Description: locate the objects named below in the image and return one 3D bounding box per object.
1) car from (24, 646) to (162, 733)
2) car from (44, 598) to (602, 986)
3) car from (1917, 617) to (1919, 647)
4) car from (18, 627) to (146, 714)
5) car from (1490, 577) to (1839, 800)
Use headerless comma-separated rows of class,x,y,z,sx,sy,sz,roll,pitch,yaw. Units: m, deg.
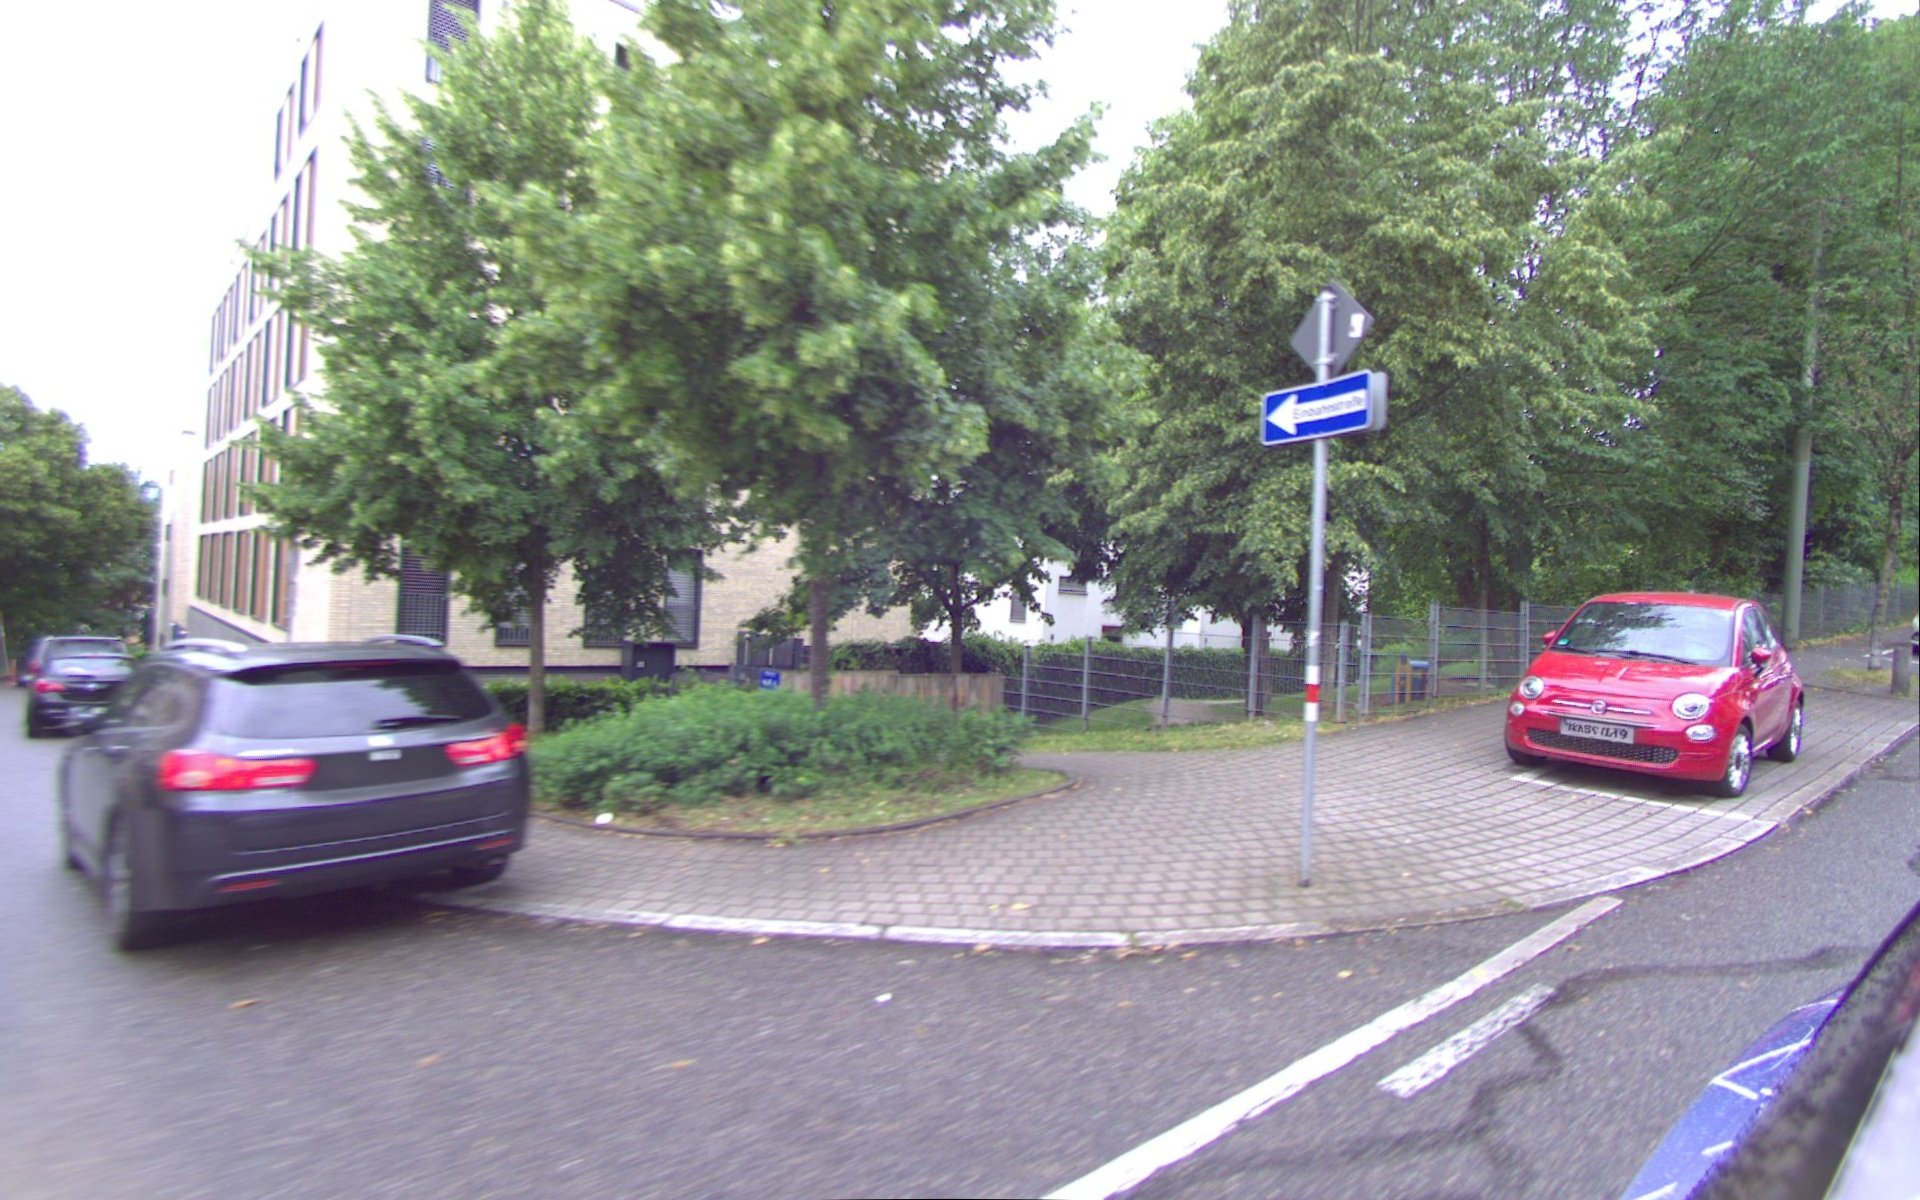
car,-16.163,1.590,18.812,1.748,1.444,3.519,4,-4,-43
car,-4.119,0.834,6.208,4.268,1.518,1.970,-2,-3,45
car,21.075,0.230,20.444,4.794,1.480,1.747,0,5,-38
car,-19.563,1.521,22.608,1.933,1.731,4.328,3,-4,-41
car,6.377,0.595,8.999,3.889,1.520,1.612,-1,3,-41
